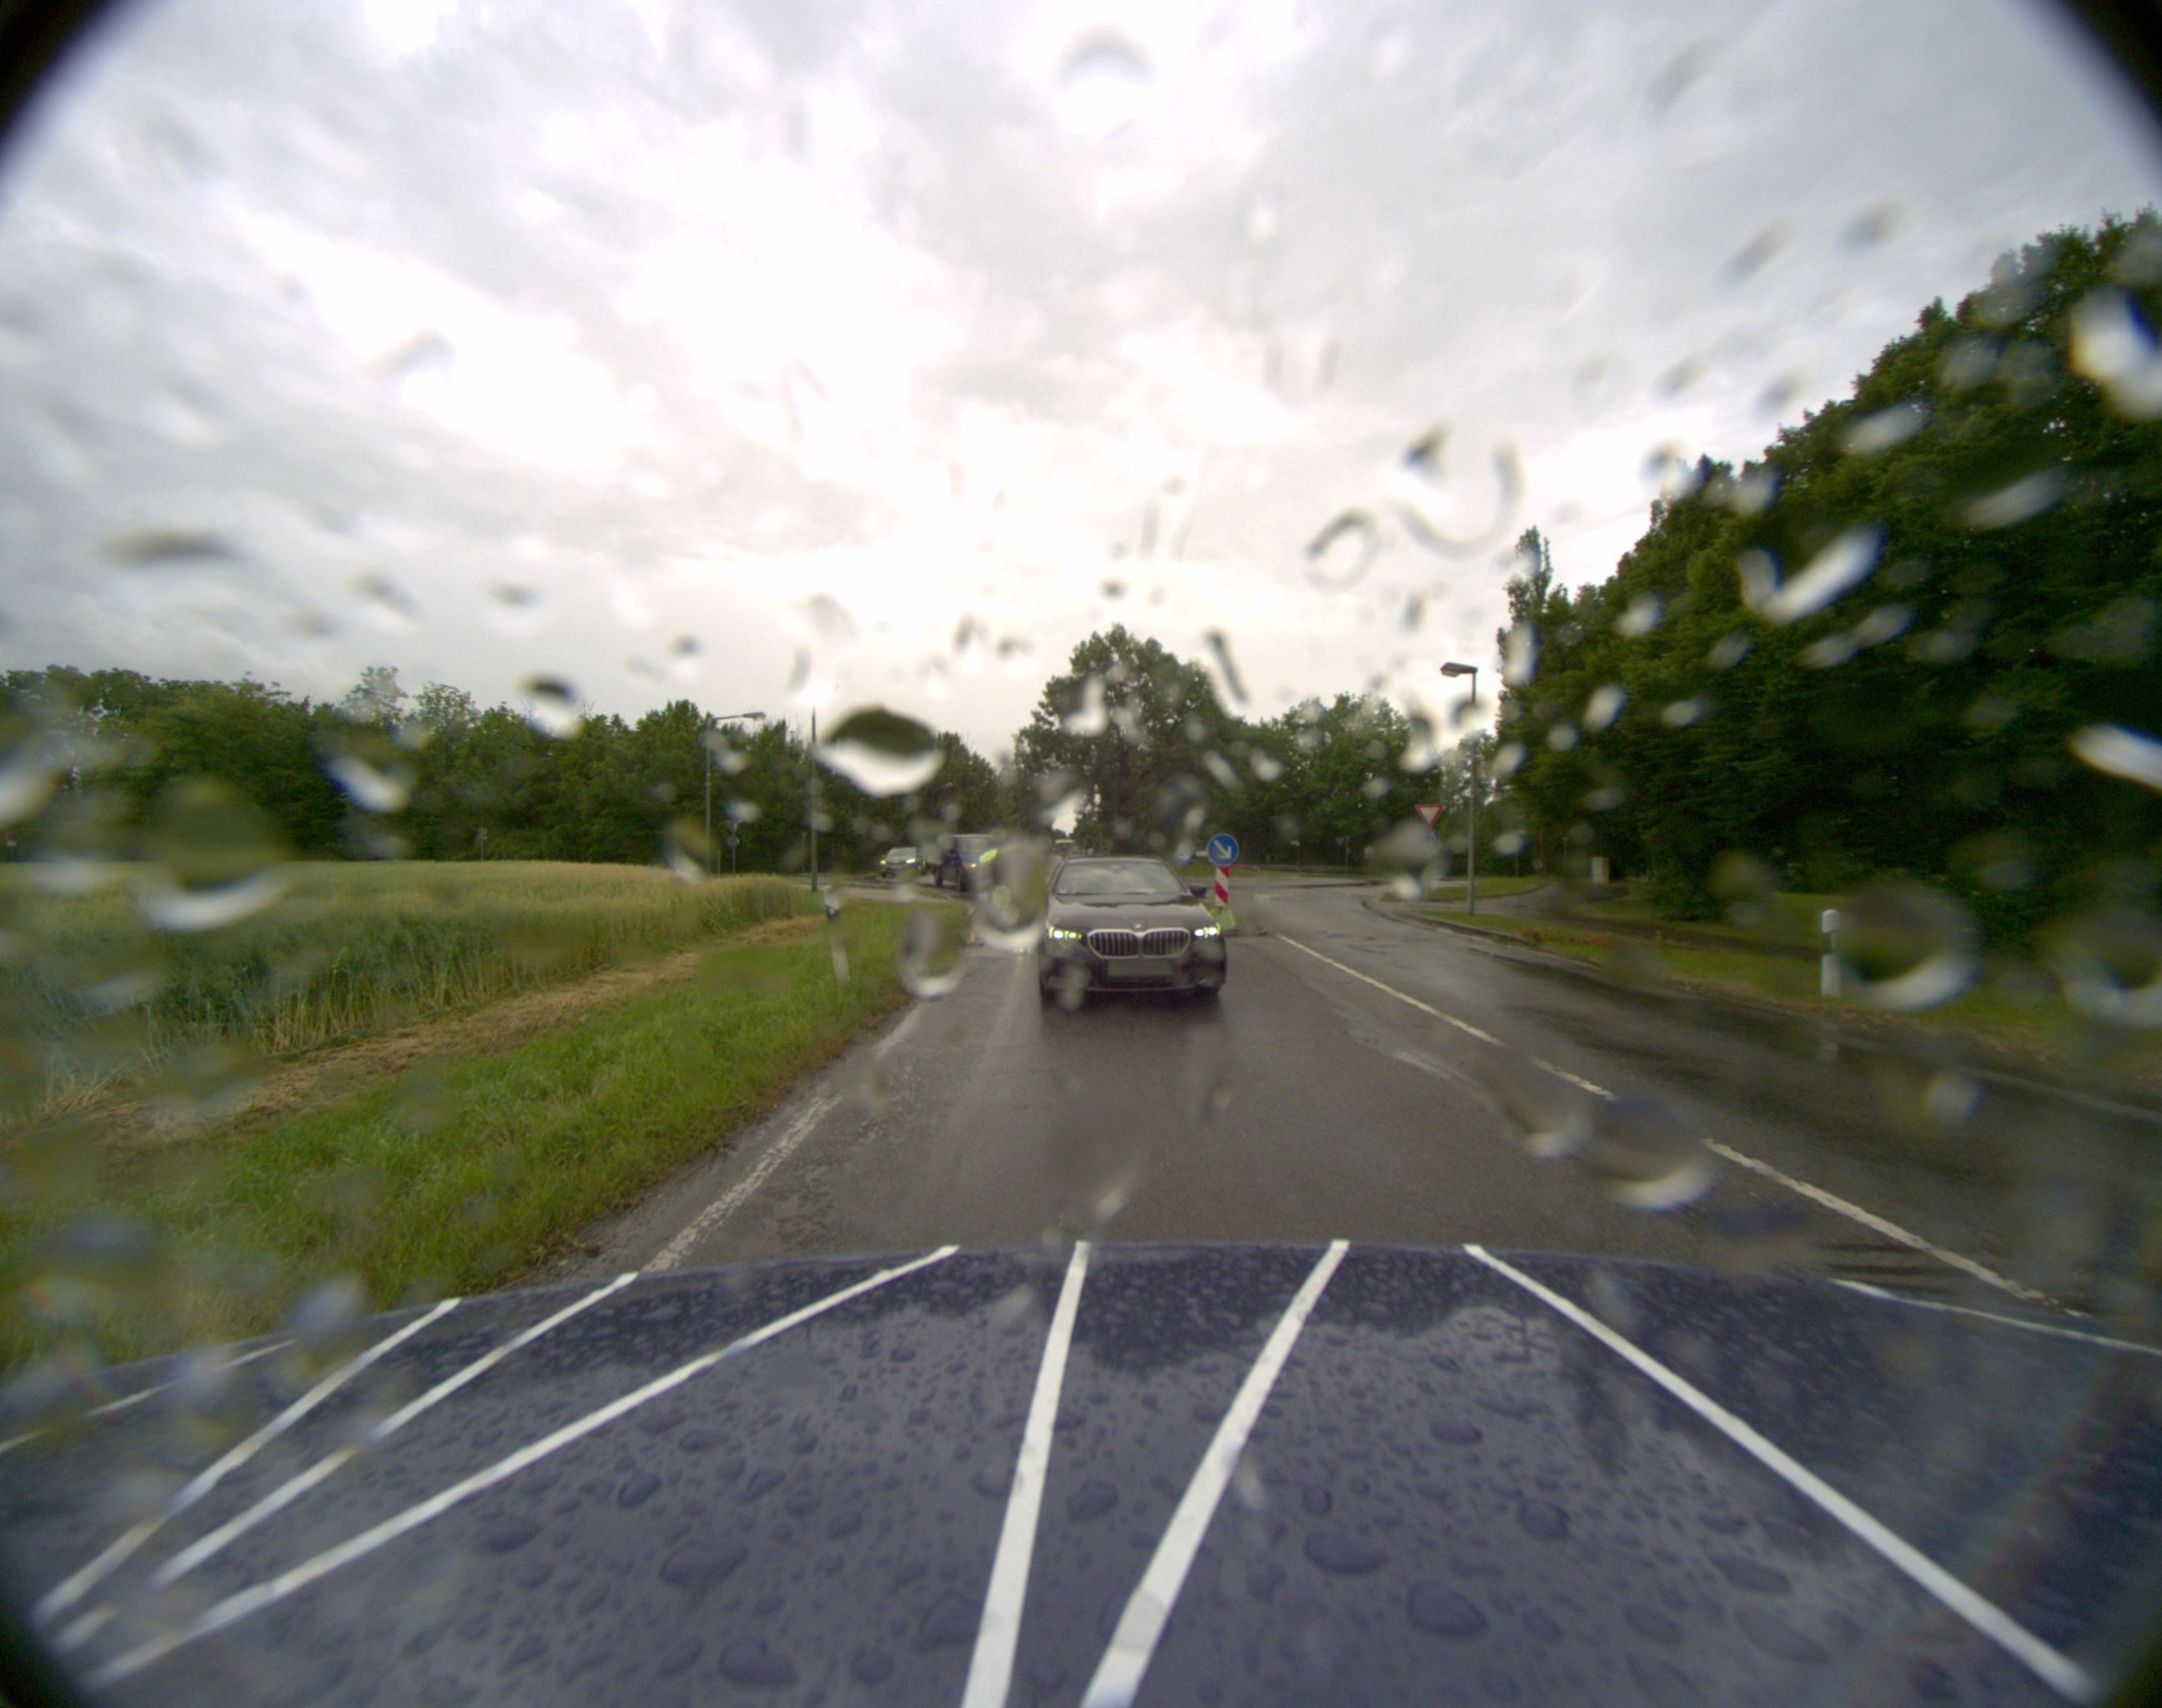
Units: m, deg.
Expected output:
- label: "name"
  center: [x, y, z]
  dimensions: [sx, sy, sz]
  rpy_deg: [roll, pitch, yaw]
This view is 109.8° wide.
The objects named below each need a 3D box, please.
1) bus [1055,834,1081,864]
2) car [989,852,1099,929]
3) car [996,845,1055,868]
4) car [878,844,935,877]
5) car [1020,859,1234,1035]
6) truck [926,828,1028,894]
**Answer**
- label: "bus"
  center: [-1.602, -0.631, 100.690]
  dimensions: [2.996, 3.665, 14.294]
  rpy_deg: [1, 0, 1]
- label: "car"
  center: [-1.003, 0.753, 17.911]
  dimensions: [1.894, 1.482, 4.186]
  rpy_deg: [-1, 1, -12]
- label: "car"
  center: [-4.003, 0.169, 55.596]
  dimensions: [1.888, 1.522, 4.511]
  rpy_deg: [-1, 0, 34]
- label: "car"
  center: [-8.929, 0.309, 39.284]
  dimensions: [1.892, 1.522, 5.254]
  rpy_deg: [-1, 0, -2]
- label: "car"
  center: [0.359, 0.844, 8.809]
  dimensions: [1.892, 1.484, 4.034]
  rpy_deg: [-1, 0, -2]
- label: "truck"
  center: [-3.879, 0.234, 27.242]
  dimensions: [2.079, 2.050, 5.758]
  rpy_deg: [-3, 1, -24]
